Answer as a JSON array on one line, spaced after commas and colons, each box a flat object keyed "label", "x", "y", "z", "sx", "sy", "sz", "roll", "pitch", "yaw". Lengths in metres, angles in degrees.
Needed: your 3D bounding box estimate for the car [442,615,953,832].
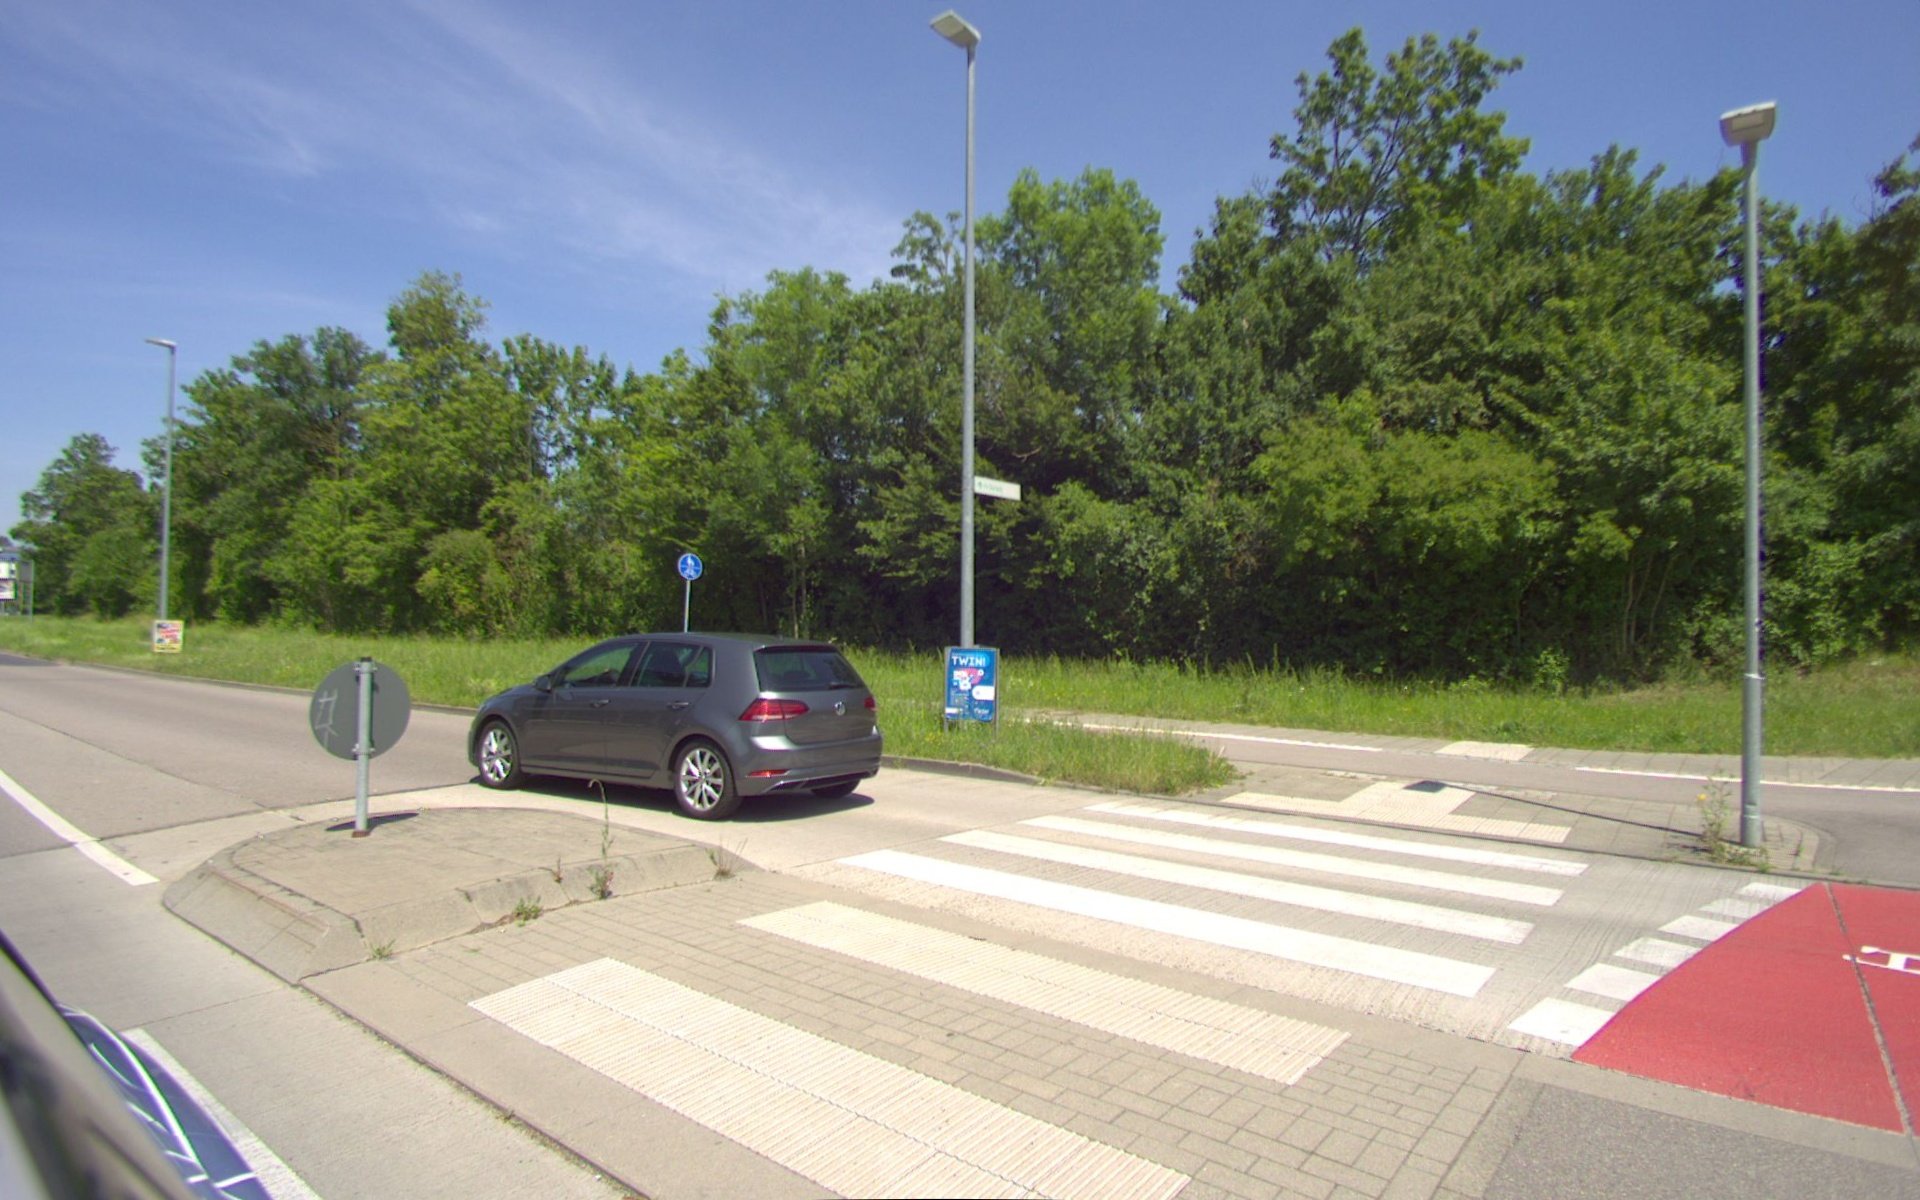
[{"label": "car", "x": -2.388, "y": 0.922, "z": 8.959, "sx": 4.274, "sy": 1.490, "sz": 1.978, "roll": -1, "pitch": -3, "yaw": 32}]
